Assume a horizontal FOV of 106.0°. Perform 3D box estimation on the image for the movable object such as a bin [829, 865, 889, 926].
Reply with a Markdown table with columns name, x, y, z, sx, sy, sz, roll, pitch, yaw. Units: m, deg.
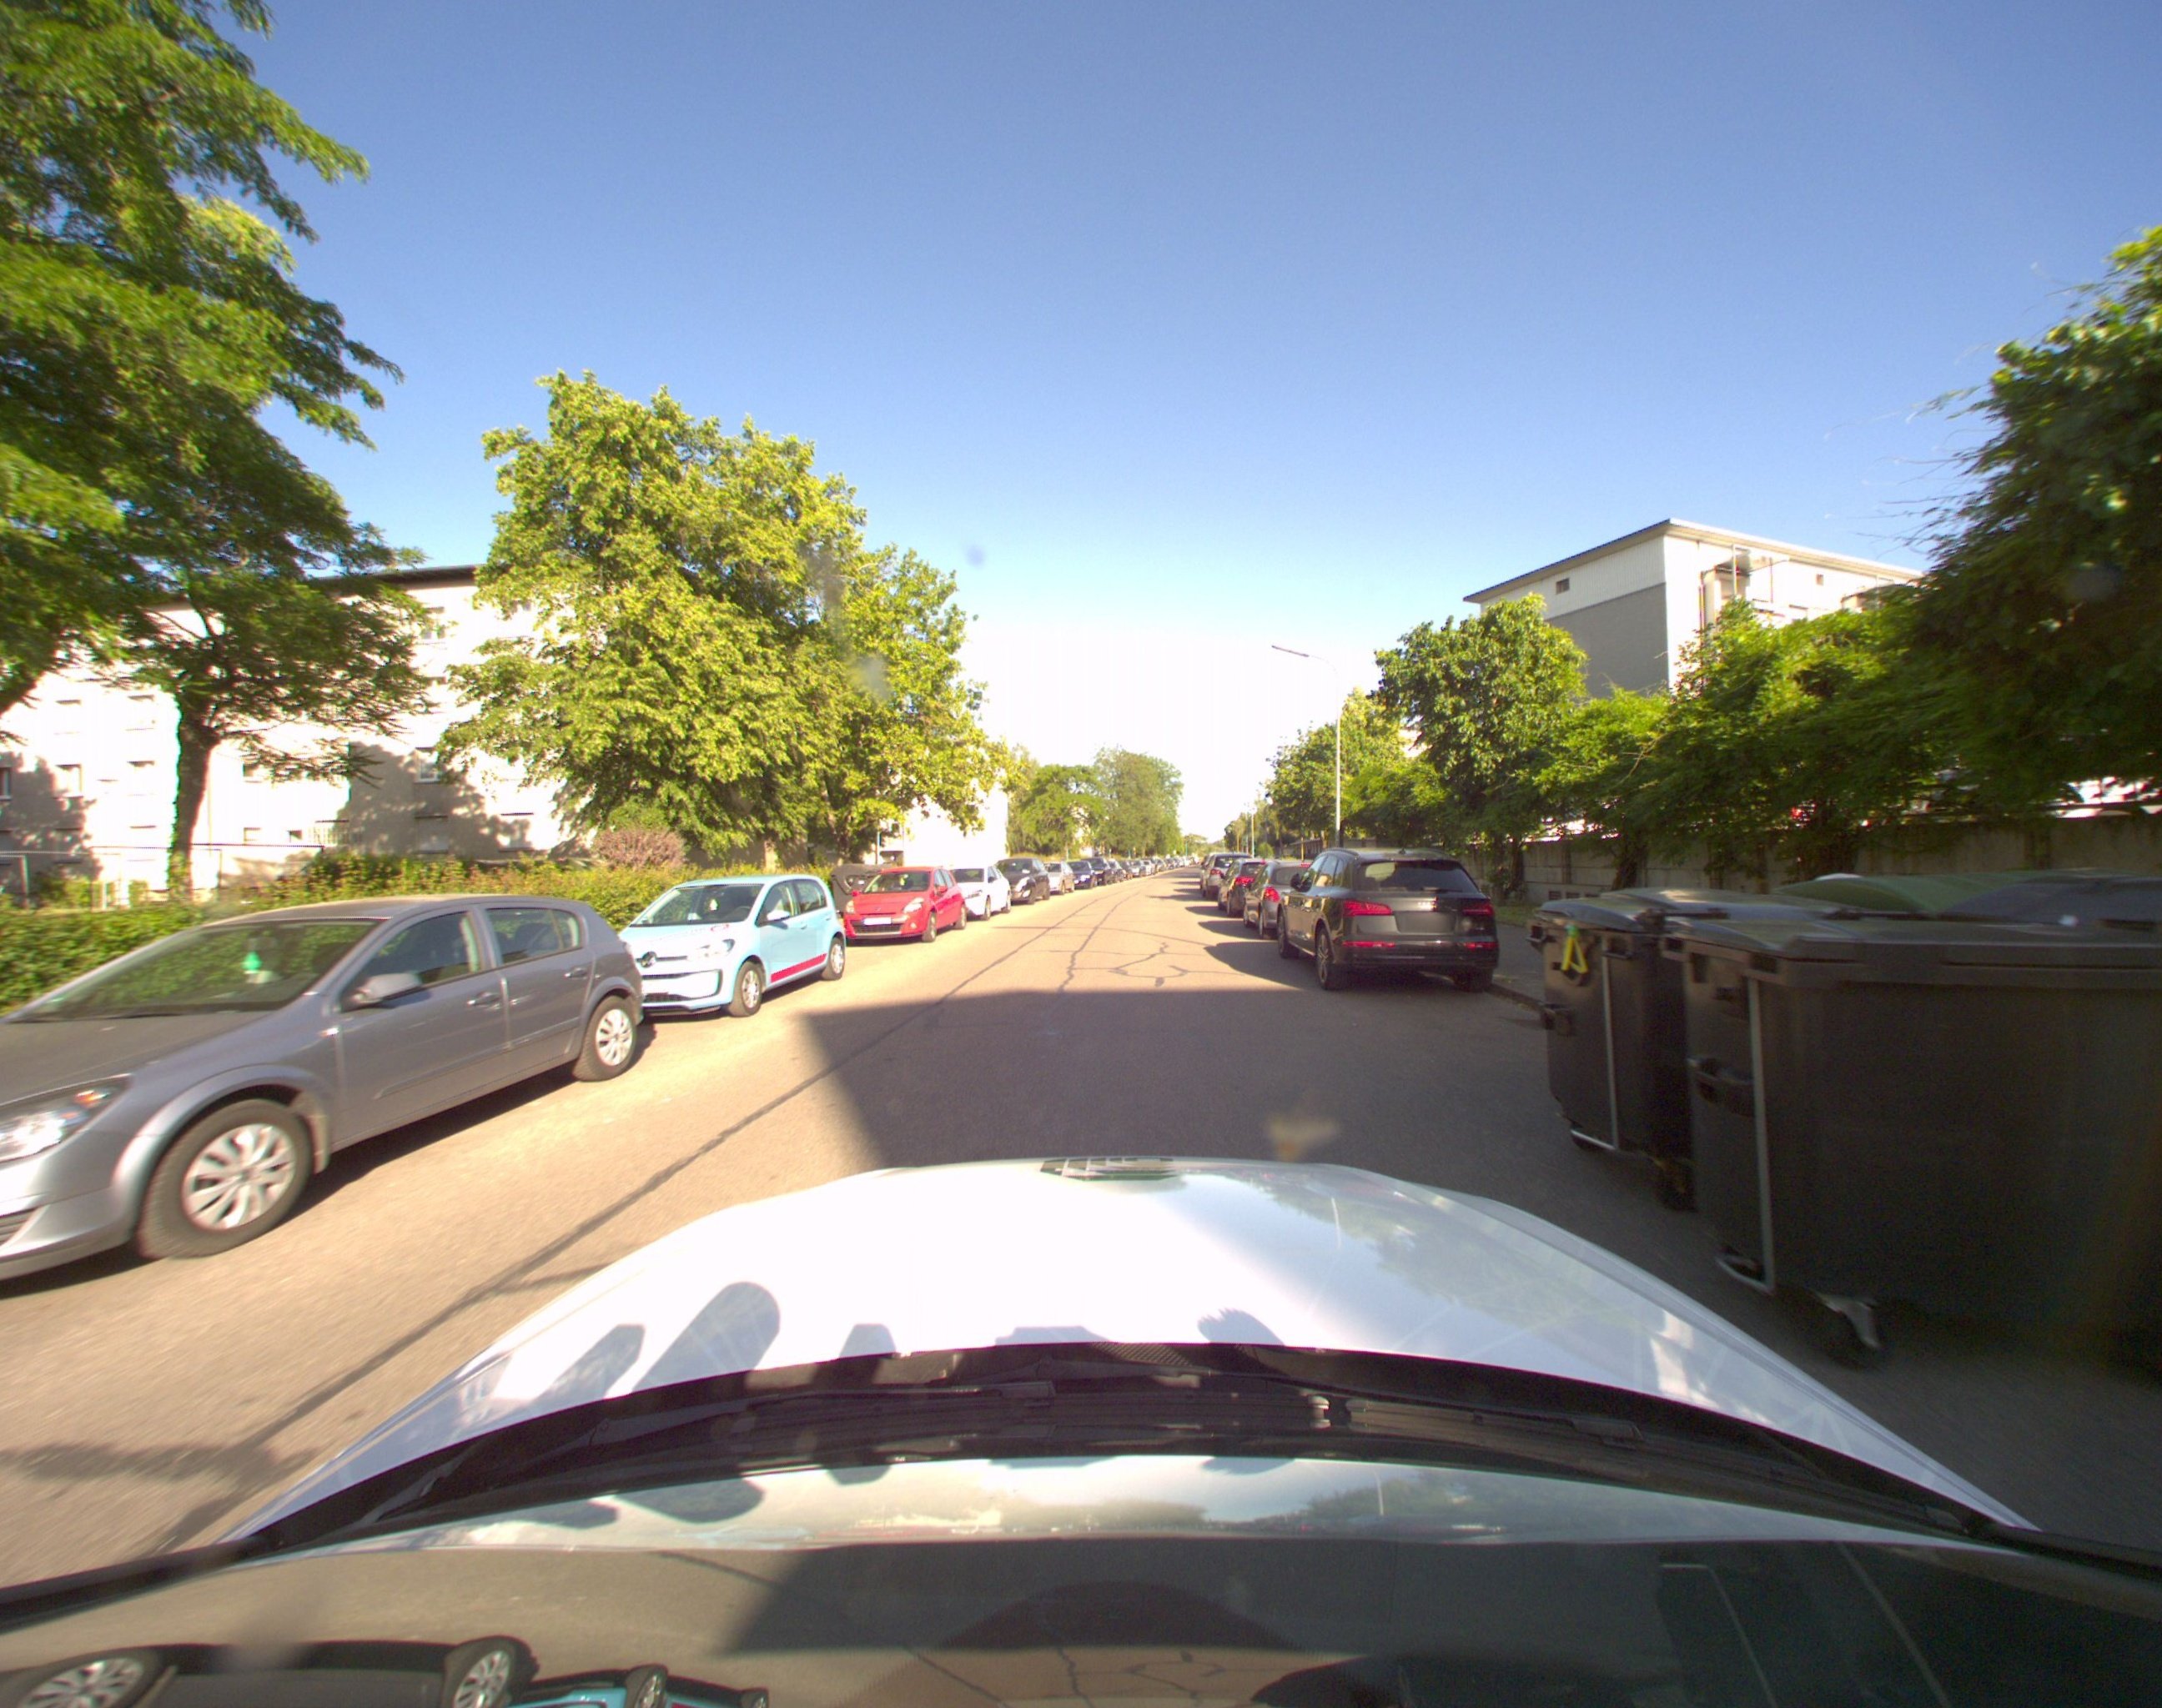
| name | x | y | z | sx | sy | sz | roll | pitch | yaw |
| --- | --- | --- | --- | --- | --- | --- | --- | --- | --- |
| movable object such as a bin | -5.911 | 1.085 | 21.764 | 1.106 | 1.498 | 1.409 | -2 | 0 | 2 |

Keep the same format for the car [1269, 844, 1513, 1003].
| name | x | y | z | sx | sy | sz | roll | pitch | yaw |
| --- | --- | --- | --- | --- | --- | --- | --- | --- | --- |
| car | 3.768 | 0.724 | 10.795 | 1.802 | 1.664 | 4.466 | 0 | 0 | 4 |

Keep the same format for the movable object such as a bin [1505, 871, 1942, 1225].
| name | x | y | z | sx | sy | sz | roll | pitch | yaw |
| --- | --- | --- | --- | --- | --- | --- | --- | --- | --- |
| movable object such as a bin | 2.934 | 0.811 | 3.950 | 1.220 | 1.397 | 1.173 | -2 | 0 | 9 |

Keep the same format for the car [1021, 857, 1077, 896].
| name | x | y | z | sx | sy | sz | roll | pitch | yaw |
| --- | --- | --- | --- | --- | --- | --- | --- | --- | --- |
| car | -1.317 | 0.915 | 35.238 | 1.651 | 1.486 | 4.062 | -3 | 0 | 8 |

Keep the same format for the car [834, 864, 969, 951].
| name | x | y | z | sx | sy | sz | roll | pitch | yaw |
| --- | --- | --- | --- | --- | --- | --- | --- | --- | --- |
| car | -3.557 | 1.016 | 16.839 | 1.663 | 1.474 | 3.682 | -3 | 0 | 4 |

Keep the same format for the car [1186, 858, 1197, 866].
| name | x | y | z | sx | sy | sz | roll | pitch | yaw |
| --- | --- | --- | --- | --- | --- | --- | --- | --- | --- |
| car | 21.856 | 1.528 | 160.875 | 1.812 | 1.466 | 4.248 | -1 | 1 | 12 |

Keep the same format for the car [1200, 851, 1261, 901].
| name | x | y | z | sx | sy | sz | roll | pitch | yaw |
| --- | --- | --- | --- | --- | --- | --- | --- | --- | --- |
| car | 5.213 | 0.716 | 28.827 | 1.721 | 1.619 | 4.240 | -1 | 0 | 5 |

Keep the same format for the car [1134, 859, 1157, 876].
| name | x | y | z | sx | sy | sz | roll | pitch | yaw |
| --- | --- | --- | --- | --- | --- | --- | --- | --- | --- |
| car | 5.740 | 1.174 | 72.317 | 1.499 | 1.364 | 3.479 | -3 | 0 | 12 |

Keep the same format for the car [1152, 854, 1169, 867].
| name | x | y | z | sx | sy | sz | roll | pitch | yaw |
| --- | --- | --- | --- | --- | --- | --- | --- | --- | --- |
| car | 9.212 | 0.721 | 94.277 | 1.499 | 1.329 | 3.479 | -3 | 0 | 12 |

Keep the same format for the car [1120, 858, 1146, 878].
| name | x | y | z | sx | sy | sz | roll | pitch | yaw |
| --- | --- | --- | --- | --- | --- | --- | --- | --- | --- |
| car | 4.242 | 1.140 | 66.337 | 1.499 | 1.451 | 3.703 | -3 | 0 | 12 |

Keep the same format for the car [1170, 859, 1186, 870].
| name | x | y | z | sx | sy | sz | roll | pitch | yaw |
| --- | --- | --- | --- | --- | --- | --- | --- | --- | --- |
| car | 14.301 | 1.517 | 119.917 | 1.812 | 1.466 | 4.248 | -1 | 1 | 12 |

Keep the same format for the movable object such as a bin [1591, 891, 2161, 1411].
| name | x | y | z | sx | sy | sz | roll | pitch | yaw |
| --- | --- | --- | --- | --- | --- | --- | --- | --- | --- |
| movable object such as a bin | 2.713 | 0.853 | 2.797 | 1.261 | 1.313 | 1.125 | -3 | 1 | 9 |

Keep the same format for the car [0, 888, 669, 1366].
| name | x | y | z | sx | sy | sz | roll | pitch | yaw |
| --- | --- | --- | --- | --- | --- | --- | --- | --- | --- |
| car | -4.344 | 1.034 | 4.737 | 1.664 | 1.437 | 4.002 | -3 | 0 | 2 |

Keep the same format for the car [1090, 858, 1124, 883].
| name | x | y | z | sx | sy | sz | roll | pitch | yaw |
| --- | --- | --- | --- | --- | --- | --- | --- | --- | --- |
| car | 1.677 | 1.033 | 51.719 | 1.651 | 1.439 | 3.769 | -3 | 0 | 8 |

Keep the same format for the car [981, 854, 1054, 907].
| name | x | y | z | sx | sy | sz | roll | pitch | yaw |
| --- | --- | --- | --- | --- | --- | --- | --- | --- | --- |
| car | -2.168 | 0.883 | 29.055 | 1.661 | 1.666 | 4.415 | -3 | 0 | 7 |

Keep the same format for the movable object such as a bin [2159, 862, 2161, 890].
| name | x | y | z | sx | sy | sz | roll | pitch | yaw |
| --- | --- | --- | --- | --- | --- | --- | --- | --- | --- |
| movable object such as a bin | 5.030 | 0.708 | 2.664 | 1.035 | 1.448 | 1.422 | -4 | -2 | 8 |

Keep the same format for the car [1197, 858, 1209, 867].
| name | x | y | z | sx | sy | sz | roll | pitch | yaw |
| --- | --- | --- | --- | --- | --- | --- | --- | --- | --- |
| car | 19.520 | 1.321 | 130.423 | 1.813 | 1.325 | 4.245 | -1 | 1 | 9 |

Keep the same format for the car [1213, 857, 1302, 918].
| name | x | y | z | sx | sy | sz | roll | pitch | yaw |
| --- | --- | --- | --- | --- | --- | --- | --- | --- | --- |
| car | 4.583 | 0.811 | 21.671 | 1.674 | 1.456 | 4.295 | 0 | 0 | 3 |

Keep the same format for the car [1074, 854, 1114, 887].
| name | x | y | z | sx | sy | sz | roll | pitch | yaw |
| --- | --- | --- | --- | --- | --- | --- | --- | --- | --- |
| car | 0.788 | 0.901 | 46.479 | 1.651 | 1.688 | 4.059 | -3 | 0 | 8 |

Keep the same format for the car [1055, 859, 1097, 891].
| name | x | y | z | sx | sy | sz | roll | pitch | yaw |
| --- | --- | --- | --- | --- | --- | --- | --- | --- | --- |
| car | -0.196 | 1.007 | 40.905 | 1.652 | 1.426 | 4.054 | -3 | 0 | 4 |

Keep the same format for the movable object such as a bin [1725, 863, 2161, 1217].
| name | x | y | z | sx | sy | sz | roll | pitch | yaw |
| --- | --- | --- | --- | --- | --- | --- | --- | --- | --- |
| movable object such as a bin | 4.129 | 0.774 | 3.982 | 1.085 | 1.448 | 1.173 | 0 | -2 | 8 |

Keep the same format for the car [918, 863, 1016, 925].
| name | x | y | z | sx | sy | sz | roll | pitch | yaw |
| --- | --- | --- | --- | --- | --- | --- | --- | --- | --- |
| car | -3.004 | 1.033 | 22.221 | 1.662 | 1.421 | 3.908 | -3 | 0 | 7 |

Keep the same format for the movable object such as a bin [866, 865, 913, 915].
| name | x | y | z | sx | sy | sz | roll | pitch | yaw |
| --- | --- | --- | --- | --- | --- | --- | --- | --- | --- |
| movable object such as a bin | -5.822 | 1.083 | 24.842 | 0.983 | 1.418 | 1.316 | -2 | 0 | 4 |

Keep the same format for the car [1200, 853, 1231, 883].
| name | x | y | z | sx | sy | sz | roll | pitch | yaw |
| --- | --- | --- | --- | --- | --- | --- | --- | --- | --- |
| car | 7.807 | 0.774 | 47.177 | 1.687 | 1.641 | 4.244 | -1 | 0 | 9 |

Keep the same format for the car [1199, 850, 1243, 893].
| name | x | y | z | sx | sy | sz | roll | pitch | yaw |
| --- | --- | --- | --- | --- | --- | --- | --- | --- | --- |
| car | 5.852 | 0.691 | 34.371 | 1.644 | 1.698 | 4.242 | -1 | 0 | 7 |

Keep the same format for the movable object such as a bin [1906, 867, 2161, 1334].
| name | x | y | z | sx | sy | sz | roll | pitch | yaw |
| --- | --- | --- | --- | --- | --- | --- | --- | --- | --- |
| movable object such as a bin | 3.928 | 0.774 | 2.687 | 1.101 | 1.419 | 1.363 | 0 | 1 | 8 |

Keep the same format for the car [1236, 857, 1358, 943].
| name | x | y | z | sx | sy | sz | roll | pitch | yaw |
| --- | --- | --- | --- | --- | --- | --- | --- | --- | --- |
| car | 4.181 | 0.817 | 16.332 | 1.677 | 1.487 | 3.828 | 1 | 0 | 4 |

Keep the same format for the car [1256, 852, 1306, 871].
| name | x | y | z | sx | sy | sz | roll | pitch | yaw |
| --- | --- | --- | --- | --- | --- | --- | --- | --- | --- |
| car | 17.510 | 0.673 | 71.493 | 4.193 | 1.593 | 1.836 | -1 | 0 | 10 |

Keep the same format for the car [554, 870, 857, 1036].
| name | x | y | z | sx | sy | sz | roll | pitch | yaw |
| --- | --- | --- | --- | --- | --- | --- | --- | --- | --- |
| car | -4.190 | 1.010 | 9.818 | 1.663 | 1.474 | 3.682 | -3 | 0 | 4 |

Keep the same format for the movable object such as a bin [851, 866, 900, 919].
| name | x | y | z | sx | sy | sz | roll | pitch | yaw |
| --- | --- | --- | --- | --- | --- | --- | --- | --- | --- |
| movable object such as a bin | -5.909 | 1.091 | 23.474 | 0.984 | 1.418 | 1.315 | -2 | 0 | 2 |

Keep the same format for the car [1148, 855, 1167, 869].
| name | x | y | z | sx | sy | sz | roll | pitch | yaw |
| --- | --- | --- | --- | --- | --- | --- | --- | --- | --- |
| car | 8.311 | 0.843 | 88.386 | 1.499 | 1.381 | 3.479 | -3 | 0 | 12 |

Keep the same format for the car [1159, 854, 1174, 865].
| name | x | y | z | sx | sy | sz | roll | pitch | yaw |
| --- | --- | --- | --- | --- | --- | --- | --- | --- | --- |
| car | 10.818 | 0.688 | 103.088 | 1.499 | 1.329 | 3.479 | -3 | 0 | 12 |

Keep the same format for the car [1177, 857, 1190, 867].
| name | x | y | z | sx | sy | sz | roll | pitch | yaw |
| --- | --- | --- | --- | --- | --- | --- | --- | --- | --- |
| car | 16.407 | 1.279 | 130.103 | 1.812 | 1.466 | 4.248 | -1 | 1 | 12 |

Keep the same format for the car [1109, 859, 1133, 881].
| name | x | y | z | sx | sy | sz | roll | pitch | yaw |
| --- | --- | --- | --- | --- | --- | --- | --- | --- | --- |
| car | 2.936 | 1.160 | 59.450 | 1.381 | 1.413 | 3.133 | -3 | 0 | 9 |
